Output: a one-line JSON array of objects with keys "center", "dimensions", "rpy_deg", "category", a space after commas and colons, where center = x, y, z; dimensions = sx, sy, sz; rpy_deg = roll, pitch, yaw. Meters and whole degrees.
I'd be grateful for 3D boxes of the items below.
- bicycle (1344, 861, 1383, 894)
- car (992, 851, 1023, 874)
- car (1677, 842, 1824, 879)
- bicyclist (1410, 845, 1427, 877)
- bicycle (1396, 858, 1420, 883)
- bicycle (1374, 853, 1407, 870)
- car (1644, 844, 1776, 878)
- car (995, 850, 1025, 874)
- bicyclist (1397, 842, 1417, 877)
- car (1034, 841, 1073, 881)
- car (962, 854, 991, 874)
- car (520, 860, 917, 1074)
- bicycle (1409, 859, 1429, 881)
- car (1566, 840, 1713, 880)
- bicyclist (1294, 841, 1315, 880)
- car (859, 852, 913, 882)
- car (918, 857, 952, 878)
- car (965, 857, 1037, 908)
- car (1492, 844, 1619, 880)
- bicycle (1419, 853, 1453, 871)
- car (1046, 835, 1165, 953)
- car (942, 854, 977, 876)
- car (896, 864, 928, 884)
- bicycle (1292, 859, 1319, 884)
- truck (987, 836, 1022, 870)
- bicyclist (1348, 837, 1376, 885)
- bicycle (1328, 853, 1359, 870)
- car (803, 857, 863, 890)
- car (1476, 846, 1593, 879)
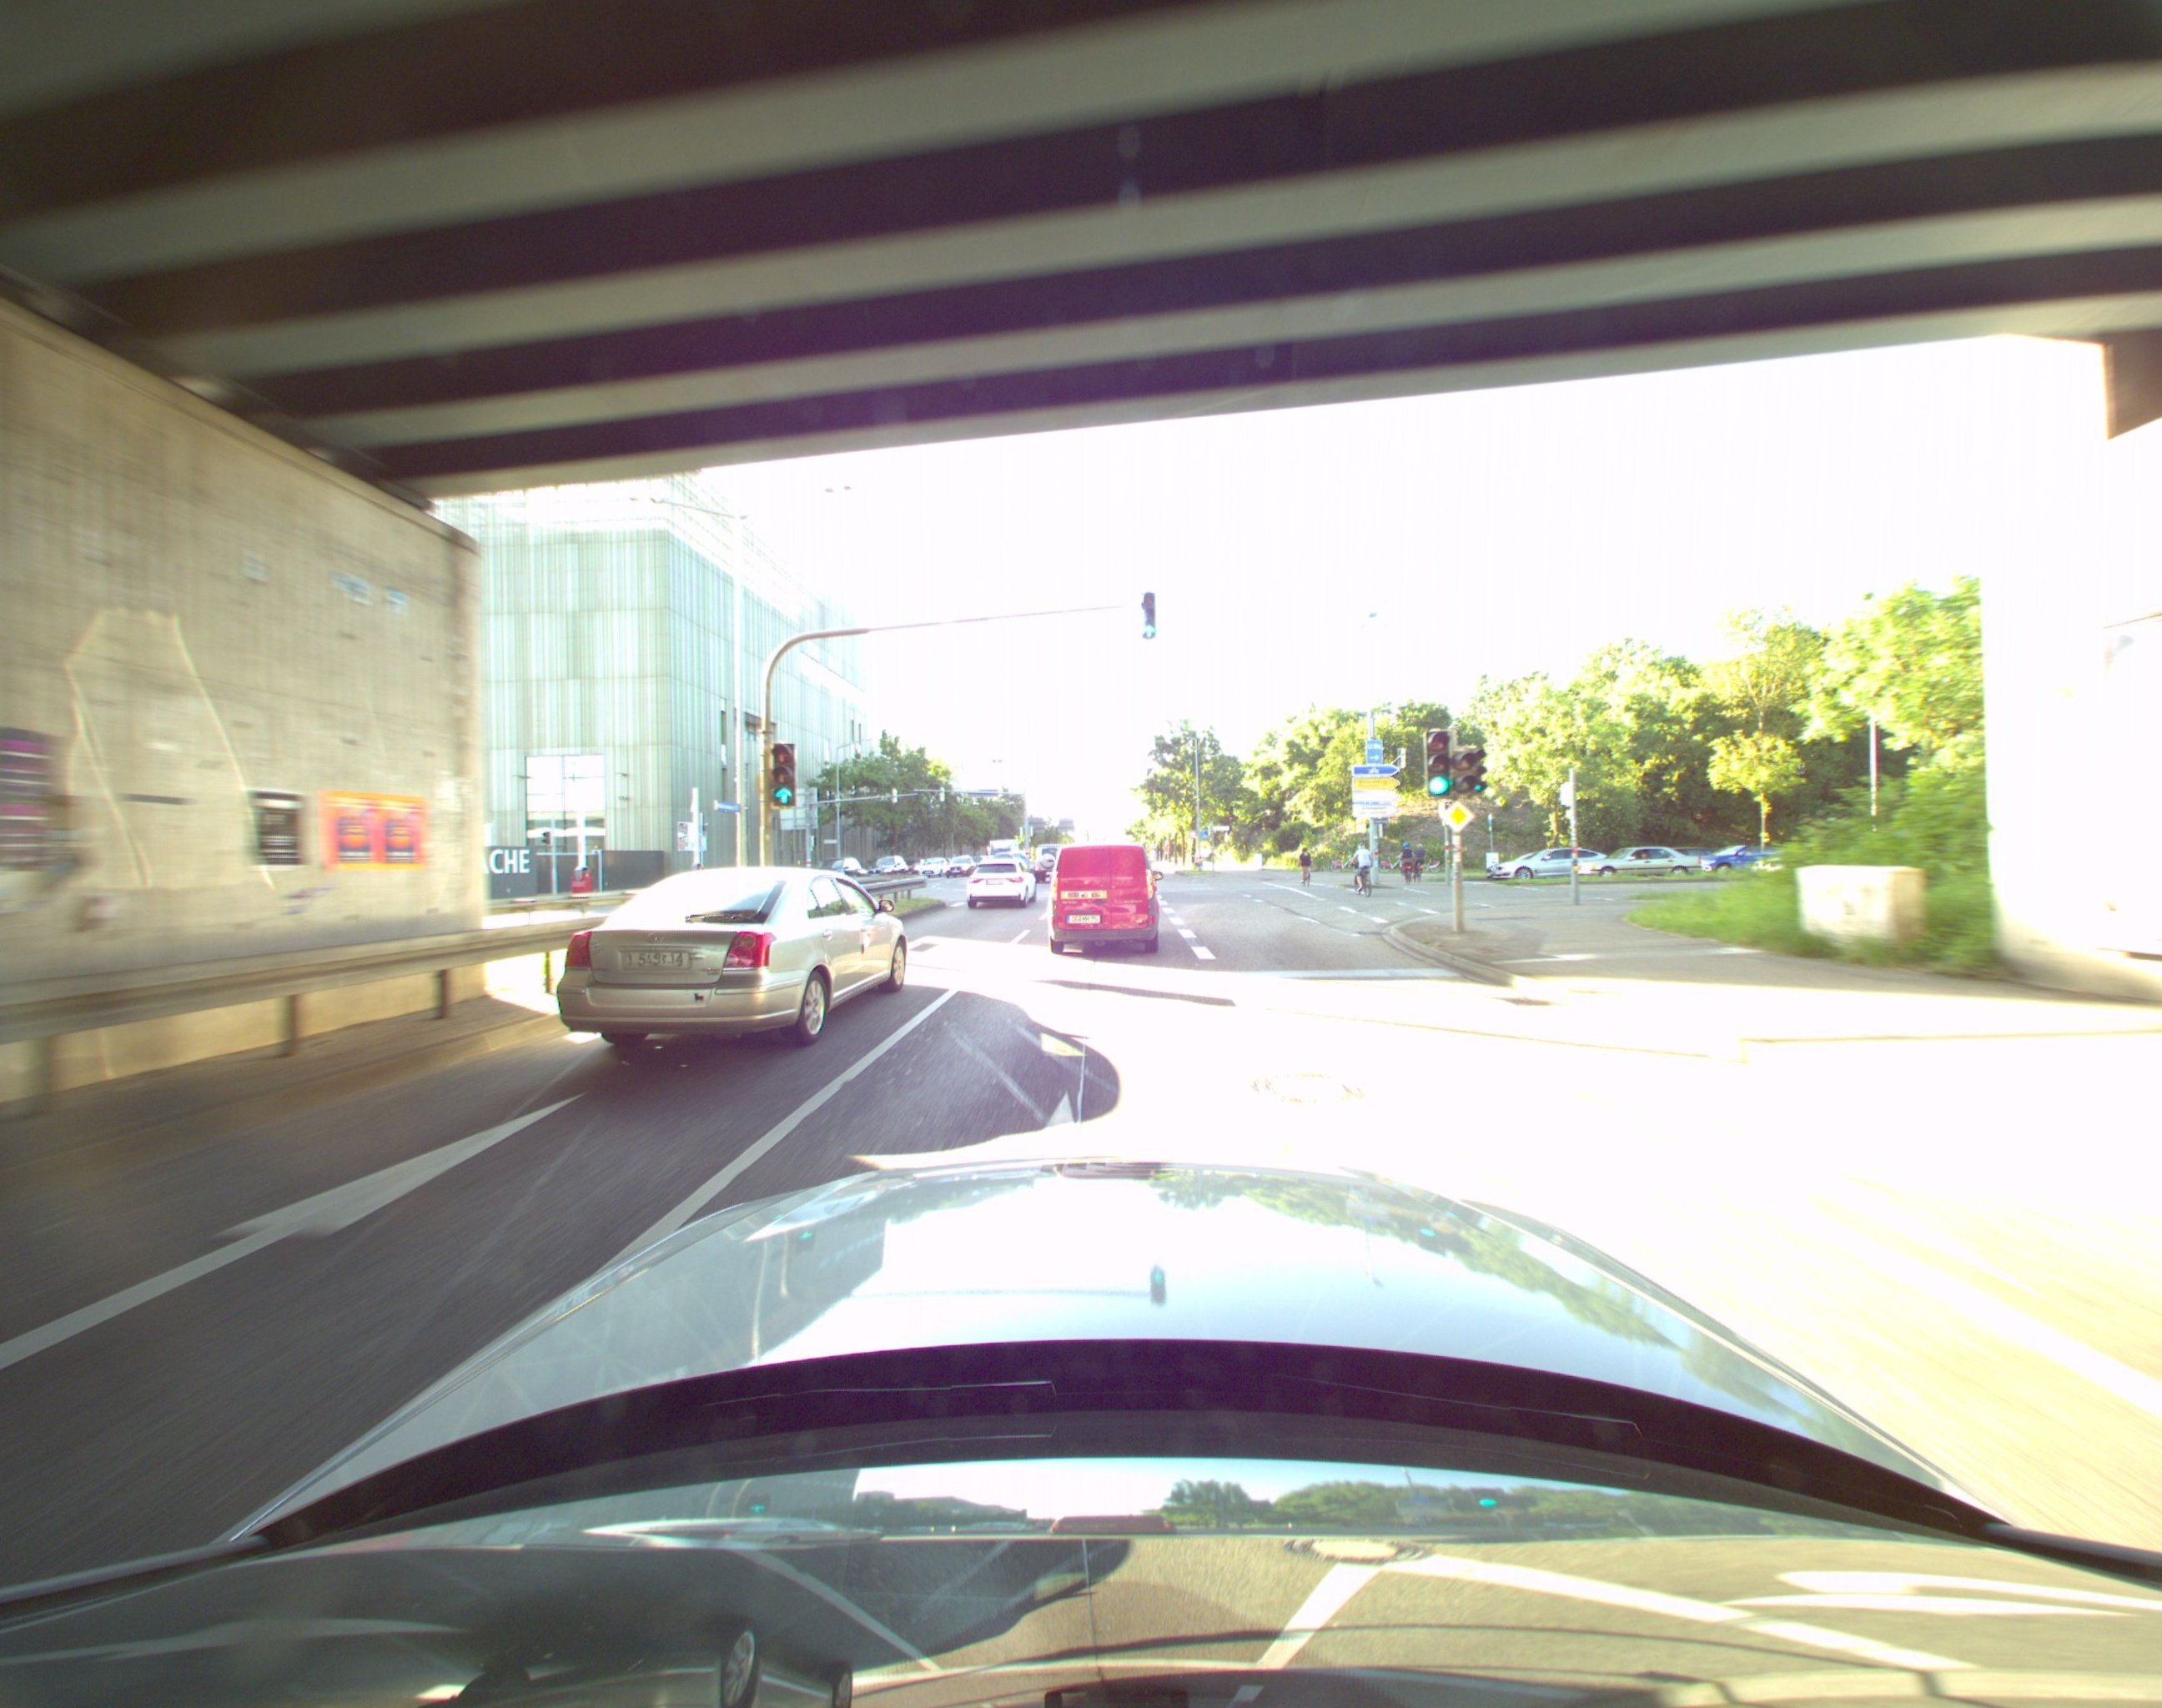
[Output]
[{"center": [9.169, 0.762, 26.506], "dimensions": [0.590, 1.023, 1.749], "rpy_deg": [0, -2, -2], "category": "bicycle"}, {"center": [-5.211, 0.599, 58.119], "dimensions": [1.629, 1.443, 3.721], "rpy_deg": [-4, -1, 2], "category": "car"}, {"center": [28.472, 0.287, 34.772], "dimensions": [4.522, 1.514, 1.832], "rpy_deg": [0, -2, 8], "category": "car"}, {"center": [16.130, 0.339, 38.952], "dimensions": [0.644, 1.481, 0.620], "rpy_deg": [-1, 0, 14], "category": "bicyclist"}, {"center": [13.911, 0.701, 34.691], "dimensions": [0.667, 1.023, 2.063], "rpy_deg": [-1, -2, 14], "category": "bicycle"}, {"center": [18.434, 0.461, 48.568], "dimensions": [1.734, 1.023, 0.595], "rpy_deg": [-1, -2, 10], "category": "bicycle"}, {"center": [28.940, 0.357, 37.611], "dimensions": [4.522, 1.514, 1.832], "rpy_deg": [0, -2, 8], "category": "car"}, {"center": [-5.667, 0.630, 65.302], "dimensions": [1.750, 1.796, 4.085], "rpy_deg": [-4, -1, 2], "category": "car"}, {"center": [13.906, 0.227, 34.724], "dimensions": [0.660, 1.474, 0.754], "rpy_deg": [-1, -2, 13], "category": "bicyclist"}, {"center": [-1.390, 0.419, 43.049], "dimensions": [1.794, 1.989, 4.590], "rpy_deg": [0, -2, 1], "category": "car"}, {"center": [-8.117, 0.781, 63.816], "dimensions": [1.630, 1.443, 4.076], "rpy_deg": [-4, -1, 0], "category": "car"}, {"center": [-3.002, 0.835, 7.893], "dimensions": [1.726, 1.480, 4.321], "rpy_deg": [-1, -1, 3], "category": "car"}, {"center": [16.124, 0.750, 38.892], "dimensions": [0.662, 1.023, 1.757], "rpy_deg": [-1, 0, 15], "category": "bicycle"}, {"center": [22.231, 0.263, 32.586], "dimensions": [4.522, 1.514, 1.832], "rpy_deg": [0, -2, 8], "category": "car"}, {"center": [9.468, 0.278, 34.474], "dimensions": [0.590, 1.614, 0.941], "rpy_deg": [0, -2, -2], "category": "bicyclist"}, {"center": [-11.623, 0.767, 48.852], "dimensions": [1.817, 1.625, 4.532], "rpy_deg": [-4, -1, 2], "category": "car"}, {"center": [-11.167, 1.013, 62.452], "dimensions": [1.639, 1.404, 3.981], "rpy_deg": [-4, -1, 3], "category": "car"}, {"center": [-2.359, 0.811, 24.899], "dimensions": [1.807, 1.438, 3.731], "rpy_deg": [-1, 0, 0], "category": "car"}, {"center": [20.923, 0.368, 36.067], "dimensions": [4.522, 1.514, 1.832], "rpy_deg": [0, -2, 8], "category": "car"}, {"center": [20.697, 0.494, 47.542], "dimensions": [1.733, 1.023, 0.595], "rpy_deg": [-1, -2, 12], "category": "bicycle"}, {"center": [0.424, 0.655, 14.381], "dimensions": [1.798, 1.795, 4.000], "rpy_deg": [0, -2, 1], "category": "car"}, {"center": [-8.622, 0.779, 58.079], "dimensions": [1.629, 1.443, 4.079], "rpy_deg": [-4, -1, 2], "category": "car"}, {"center": [-13.756, 1.609, 66.614], "dimensions": [1.639, 1.434, 3.495], "rpy_deg": [-4, -1, 3], "category": "car"}, {"center": [9.486, 0.753, 34.465], "dimensions": [0.590, 1.023, 1.749], "rpy_deg": [0, -2, -2], "category": "bicycle"}, {"center": [-7.405, -0.075, 79.778], "dimensions": [2.400, 3.026, 6.660], "rpy_deg": [-4, -1, 2], "category": "truck"}, {"center": [9.139, 0.230, 26.490], "dimensions": [0.590, 1.549, 0.768], "rpy_deg": [0, -2, -2], "category": "bicyclist"}, {"center": [16.122, 0.456, 50.037], "dimensions": [1.734, 1.023, 0.595], "rpy_deg": [-1, -2, 10], "category": "bicycle"}, {"center": [-14.463, 1.089, 47.757], "dimensions": [1.818, 1.737, 4.631], "rpy_deg": [-4, -1, 2], "category": "car"}, {"center": [21.468, 0.432, 38.705], "dimensions": [4.522, 1.514, 1.832], "rpy_deg": [0, -2, 8], "category": "car"}]
